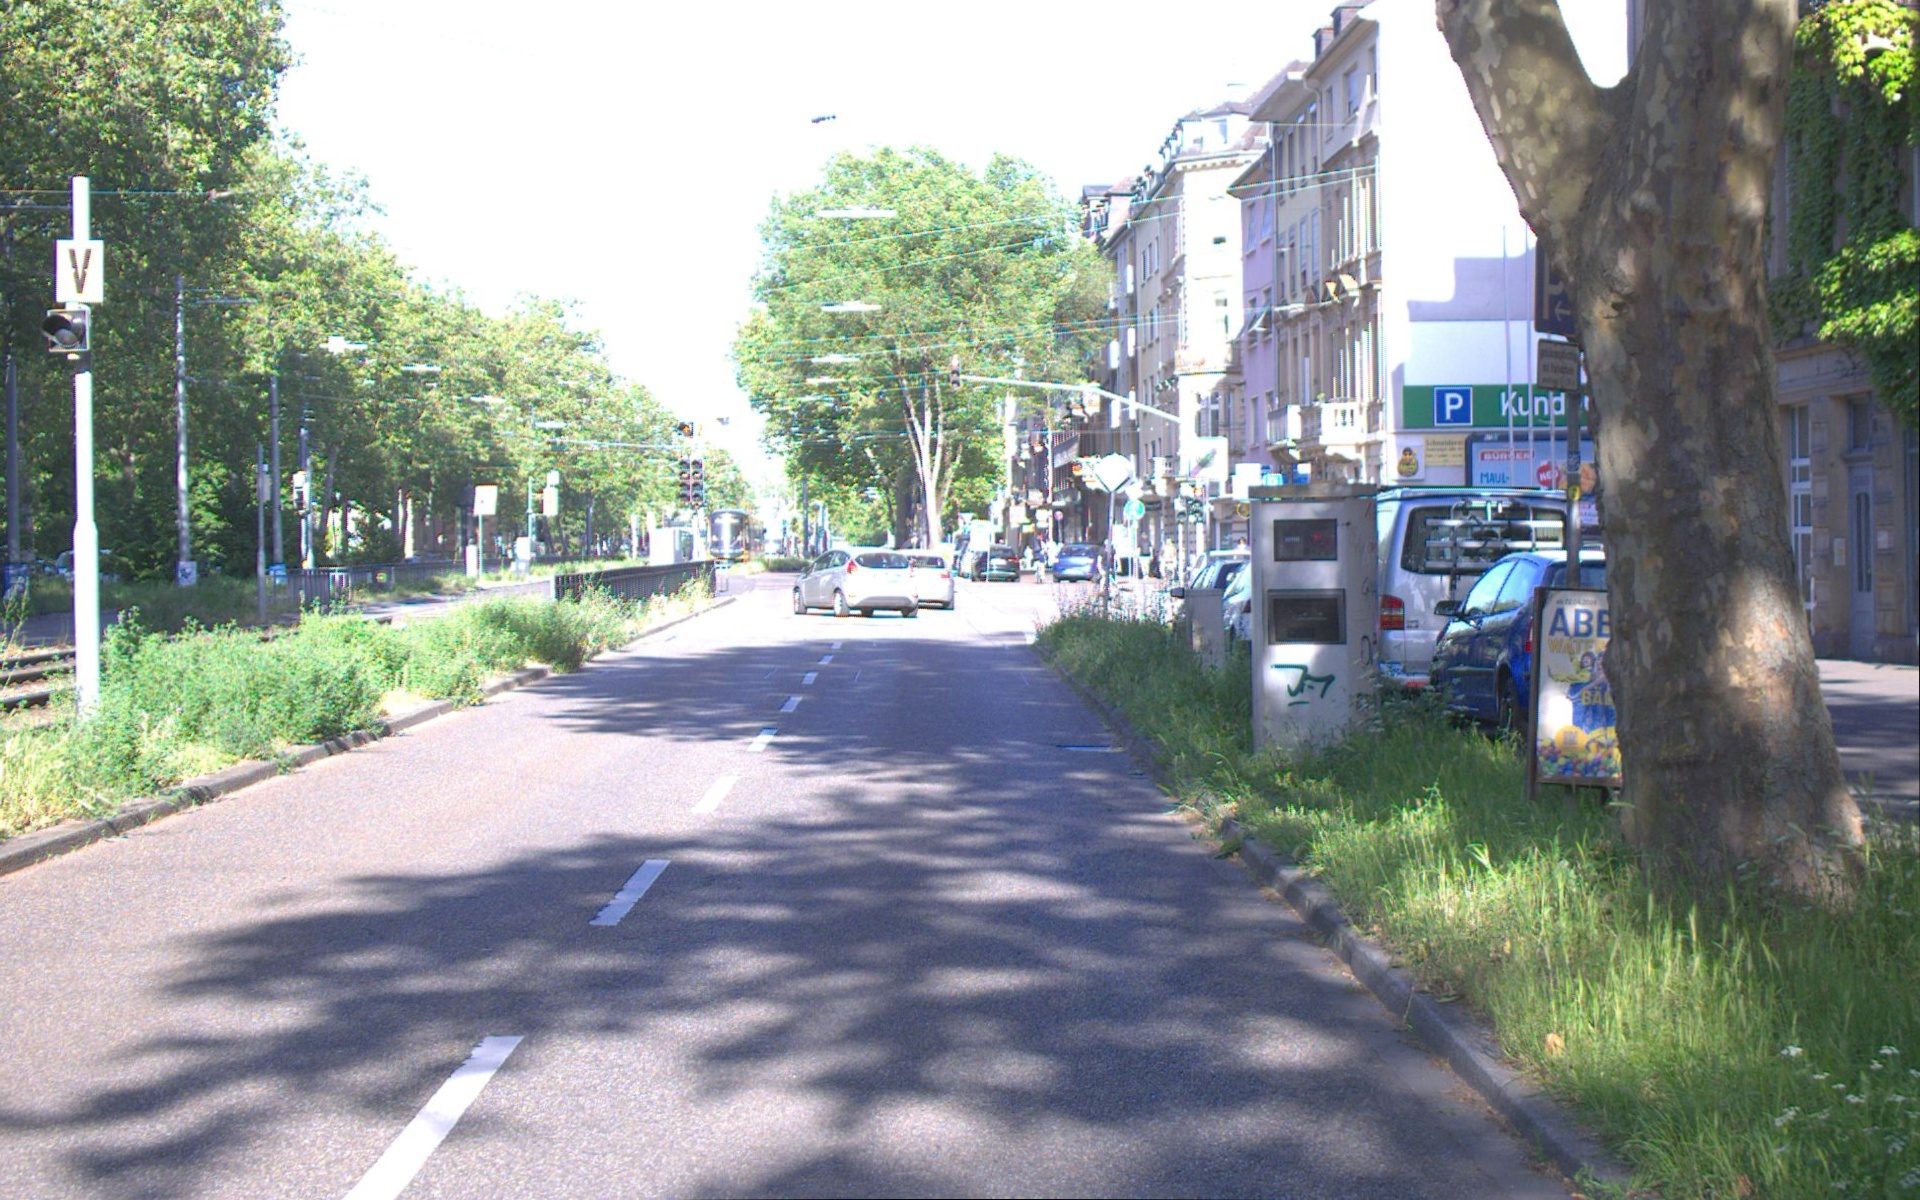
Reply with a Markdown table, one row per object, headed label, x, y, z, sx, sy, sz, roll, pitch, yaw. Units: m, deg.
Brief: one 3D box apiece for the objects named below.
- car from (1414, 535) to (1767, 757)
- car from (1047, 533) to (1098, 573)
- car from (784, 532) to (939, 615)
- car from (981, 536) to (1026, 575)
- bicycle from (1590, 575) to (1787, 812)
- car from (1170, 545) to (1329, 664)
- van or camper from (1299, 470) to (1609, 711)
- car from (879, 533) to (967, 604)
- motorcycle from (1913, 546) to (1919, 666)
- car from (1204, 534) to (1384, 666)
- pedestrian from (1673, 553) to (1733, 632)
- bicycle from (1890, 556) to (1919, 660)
| label | x | y | z | sx | sy | sz | roll | pitch | yaw |
| --- | --- | --- | --- | --- | --- | --- | --- | --- | --- |
| car | 4.545 | 0.282 | 25.287 | 1.682 | 1.508 | 3.668 | 0 | 1 | -4 |
| car | 4.293 | -1.815 | 131.867 | 1.683 | 1.504 | 3.668 | 0 | 1 | -2 |
| car | -2.077 | -0.576 | 71.117 | 2.021 | 1.656 | 4.001 | -1 | 1 | -20 |
| car | 1.678 | -1.735 | 133.928 | 1.683 | 1.504 | 3.667 | 0 | 1 | 0 |
| bicycle | 3.282 | 0.399 | 15.582 | 0.588 | 0.987 | 1.450 | -1 | 1 | 1 |
| car | 3.792 | 0.024 | 45.533 | 1.683 | 1.504 | 3.668 | 0 | 1 | -2 |
| van or camper | 4.263 | -0.122 | 30.451 | 1.839 | 1.956 | 5.127 | 0 | 1 | -2 |
| car | -0.921 | -0.786 | 83.063 | 2.021 | 1.656 | 4.001 | 0 | 1 | -2 |
| motorcycle | 11.001 | 0.102 | 35.992 | 1.894 | 1.264 | 0.557 | 3 | 1 | 45 |
| car | 3.941 | -0.036 | 41.054 | 1.683 | 1.504 | 3.668 | 0 | 1 | -2 |
| pedestrian | 10.868 | -0.113 | 50.289 | 0.707 | 1.147 | 0.740 | -1 | 1 | 0 |
| bicycle | 11.058 | 0.086 | 38.227 | 0.887 | 1.130 | 2.399 | -1 | 1 | 3 |
